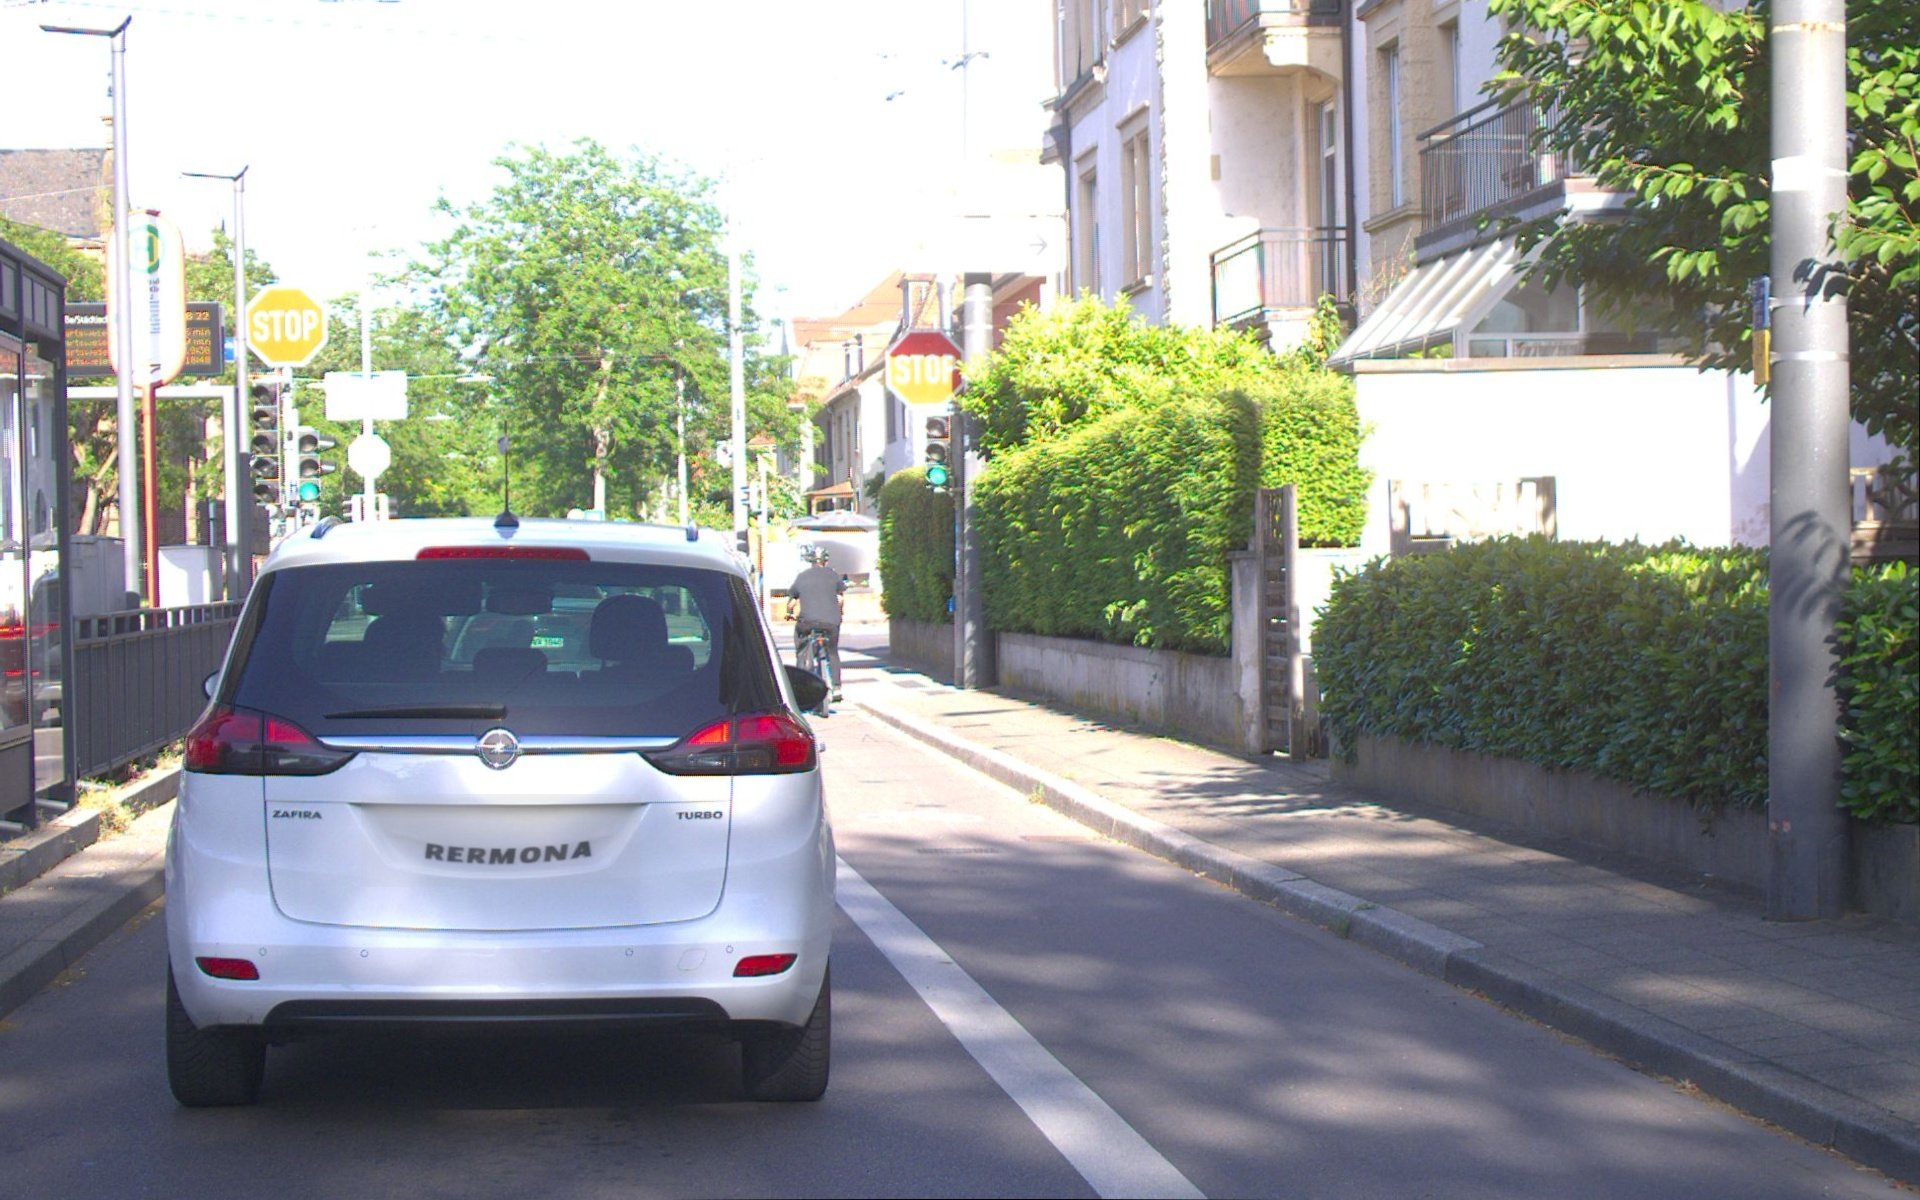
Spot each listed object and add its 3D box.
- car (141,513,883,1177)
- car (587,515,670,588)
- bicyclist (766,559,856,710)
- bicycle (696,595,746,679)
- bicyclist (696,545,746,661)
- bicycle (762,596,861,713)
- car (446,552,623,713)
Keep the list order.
[{"bbox_3d":[-1.316,0.602,10.610,1.834,1.636,3.919,-1,0,-6],"label":"car"},{"bbox_3d":[-7.663,-1.114,79.718,1.775,1.626,3.881,-1,0,-4],"label":"car"},{"bbox_3d":[-1.516,0.339,34.827,0.821,1.496,0.934,-1,0,-7],"label":"bicyclist"},{"bbox_3d":[-3.403,0.518,48.979,0.685,1.153,1.620,-1,0,-4],"label":"bicycle"},{"bbox_3d":[-3.405,0.043,48.950,0.685,1.629,1.015,-1,0,-4],"label":"bicyclist"},{"bbox_3d":[-1.528,0.537,35.035,0.829,1.150,2.095,-1,0,-7],"label":"bicycle"},{"bbox_3d":[-4.574,0.328,37.159,1.775,1.626,3.881,-1,0,-6],"label":"car"}]
